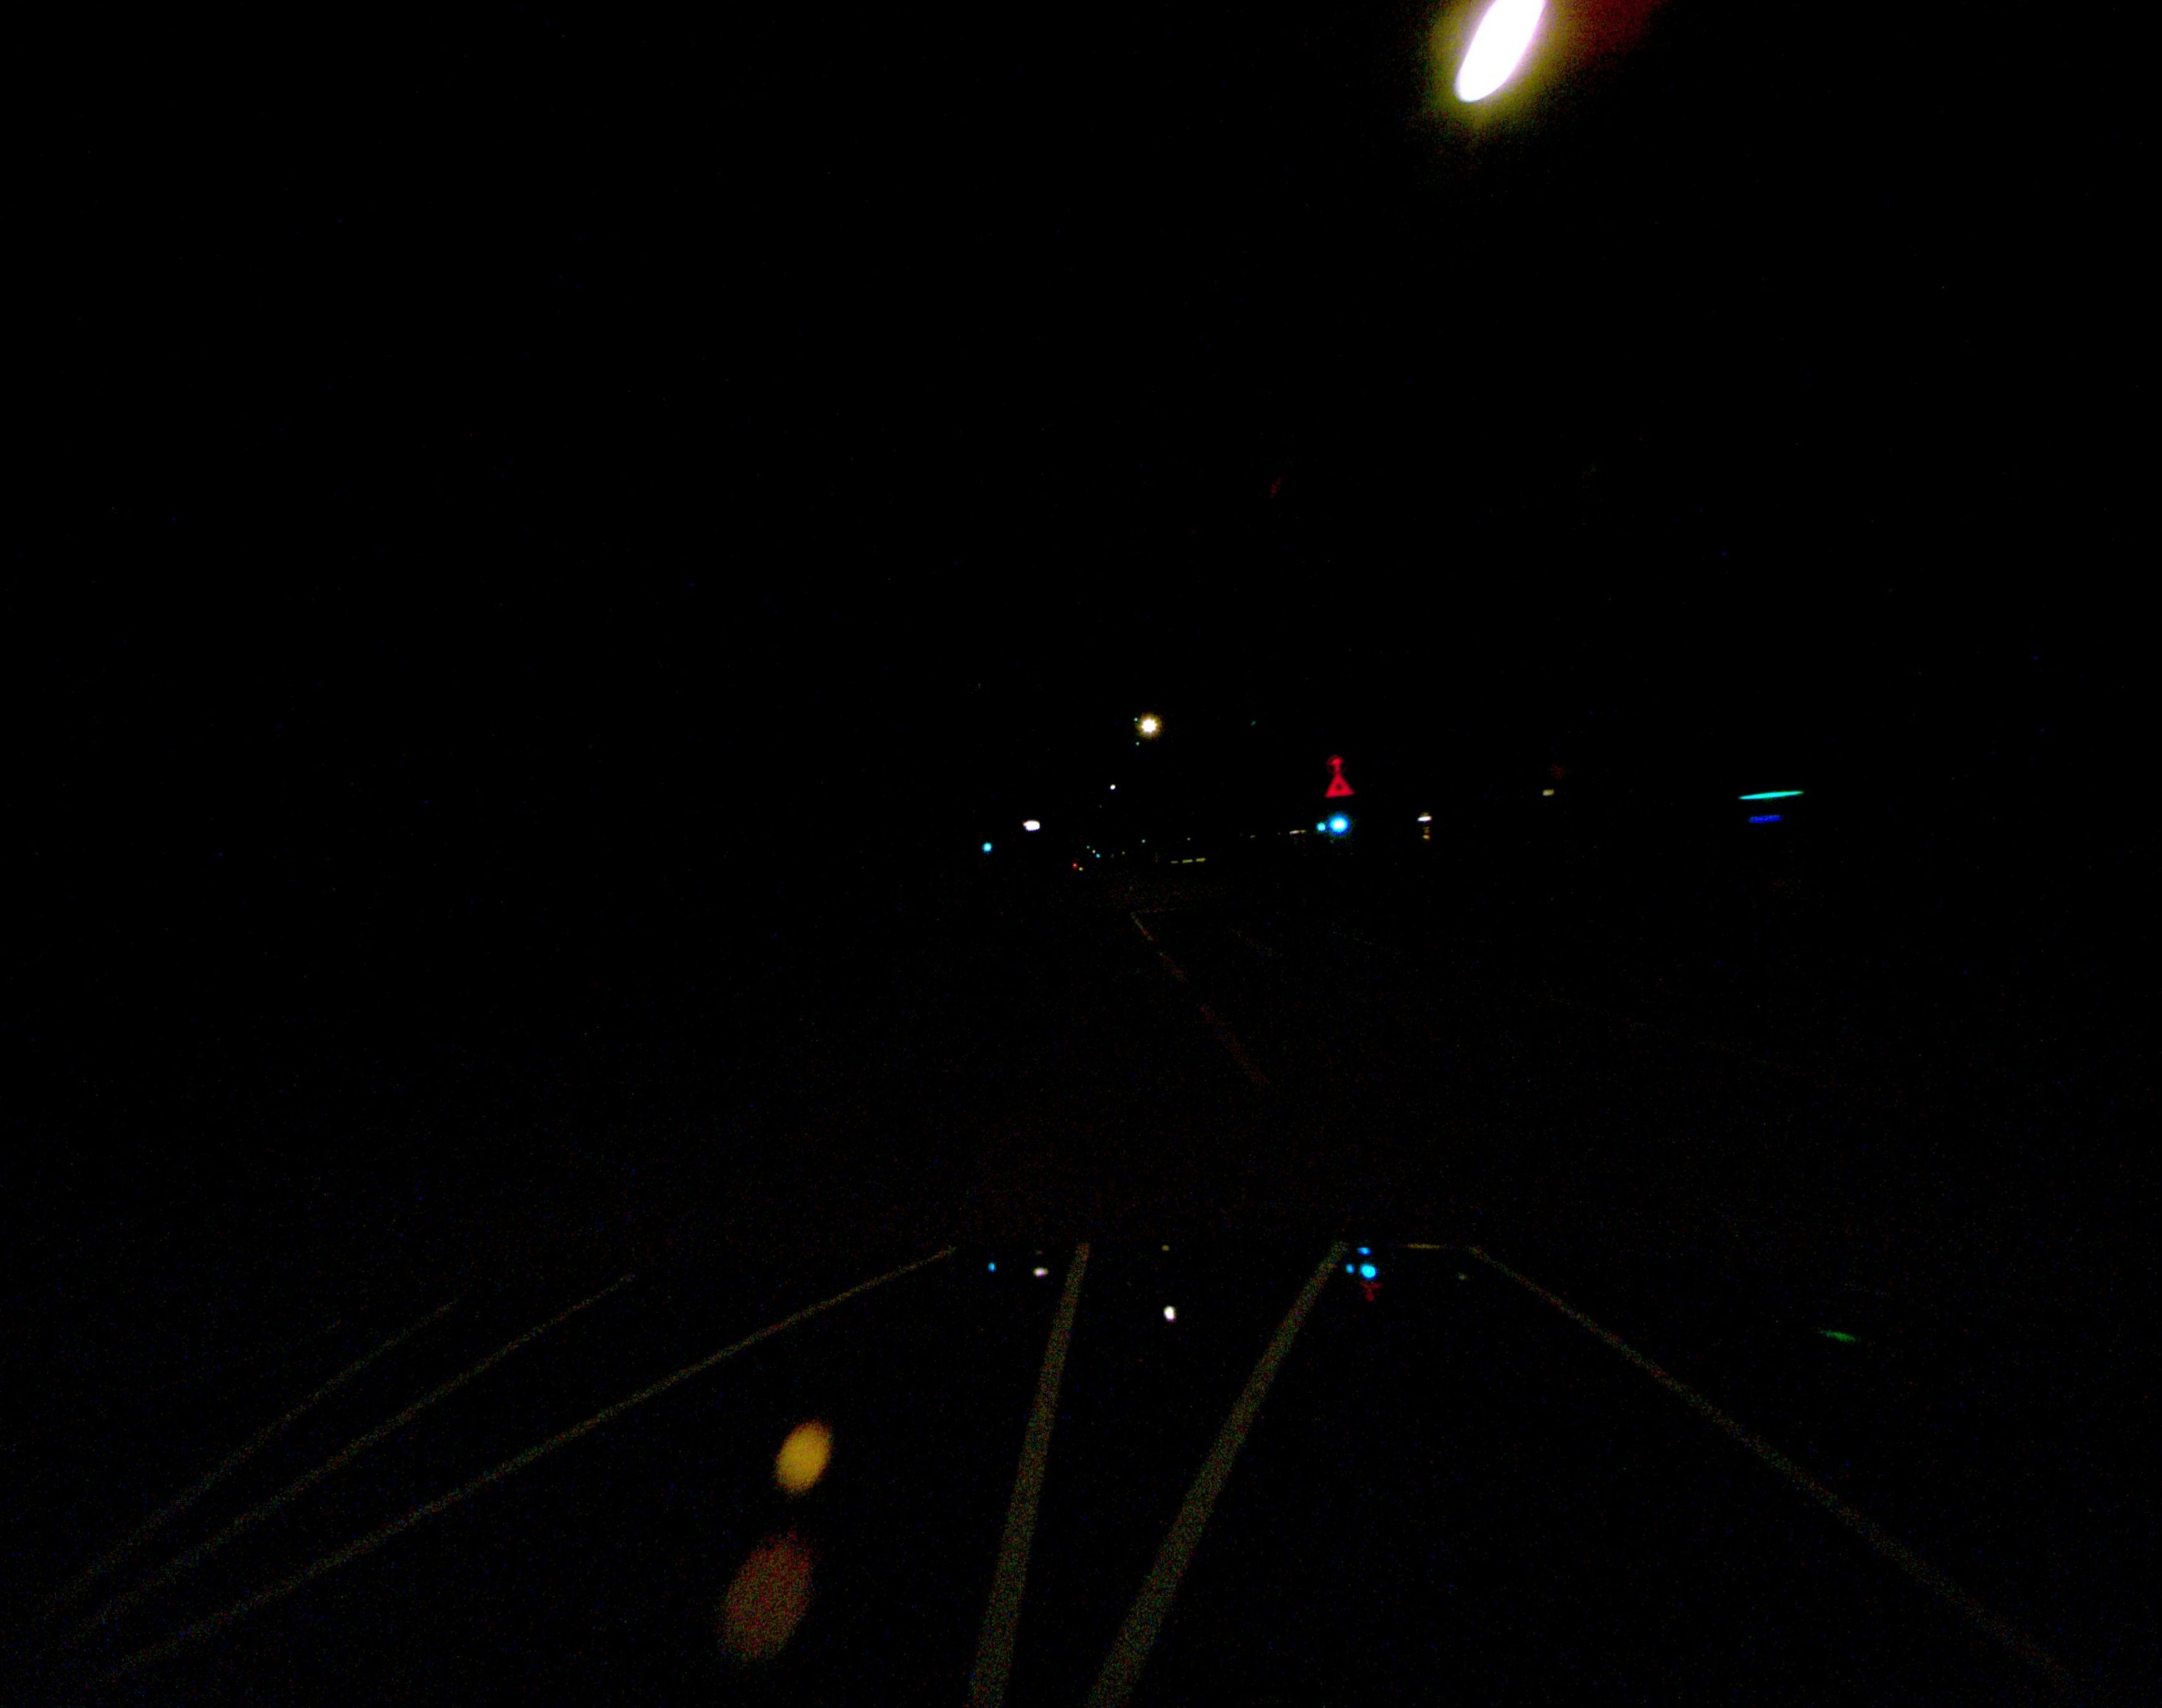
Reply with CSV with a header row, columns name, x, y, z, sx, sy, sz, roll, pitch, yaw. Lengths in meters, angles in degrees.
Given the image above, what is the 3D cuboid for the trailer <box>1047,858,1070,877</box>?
name,x,y,z,sx,sy,sz,roll,pitch,yaw
trailer,-2.000,1.217,68.149,1.604,1.486,3.734,-4,0,4

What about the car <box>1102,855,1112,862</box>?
name,x,y,z,sx,sy,sz,roll,pitch,yaw
car,6.093,1.049,178.987,1.826,1.423,3.730,-6,0,-2

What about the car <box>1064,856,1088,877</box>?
name,x,y,z,sx,sy,sz,roll,pitch,yaw
car,-0.338,0.966,59.174,1.590,1.452,3.797,-4,0,2

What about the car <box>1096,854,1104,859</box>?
name,x,y,z,sx,sy,sz,roll,pitch,yaw
car,5.409,0.757,218.145,1.826,1.423,3.730,-6,0,-2

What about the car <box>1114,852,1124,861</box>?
name,x,y,z,sx,sy,sz,roll,pitch,yaw
car,7.291,0.471,145.721,1.826,1.637,3.731,-2,0,1

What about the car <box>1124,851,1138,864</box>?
name,x,y,z,sx,sy,sz,roll,pitch,yaw
car,7.759,0.463,117.666,1.882,1.798,3.731,-6,0,1

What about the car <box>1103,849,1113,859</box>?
name,x,y,z,sx,sy,sz,roll,pitch,yaw
car,6.803,0.007,190.581,2.005,2.493,4.953,-6,0,-2

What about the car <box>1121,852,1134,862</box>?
name,x,y,z,sx,sy,sz,roll,pitch,yaw
car,7.532,0.514,123.665,1.826,1.423,3.731,-6,0,1
